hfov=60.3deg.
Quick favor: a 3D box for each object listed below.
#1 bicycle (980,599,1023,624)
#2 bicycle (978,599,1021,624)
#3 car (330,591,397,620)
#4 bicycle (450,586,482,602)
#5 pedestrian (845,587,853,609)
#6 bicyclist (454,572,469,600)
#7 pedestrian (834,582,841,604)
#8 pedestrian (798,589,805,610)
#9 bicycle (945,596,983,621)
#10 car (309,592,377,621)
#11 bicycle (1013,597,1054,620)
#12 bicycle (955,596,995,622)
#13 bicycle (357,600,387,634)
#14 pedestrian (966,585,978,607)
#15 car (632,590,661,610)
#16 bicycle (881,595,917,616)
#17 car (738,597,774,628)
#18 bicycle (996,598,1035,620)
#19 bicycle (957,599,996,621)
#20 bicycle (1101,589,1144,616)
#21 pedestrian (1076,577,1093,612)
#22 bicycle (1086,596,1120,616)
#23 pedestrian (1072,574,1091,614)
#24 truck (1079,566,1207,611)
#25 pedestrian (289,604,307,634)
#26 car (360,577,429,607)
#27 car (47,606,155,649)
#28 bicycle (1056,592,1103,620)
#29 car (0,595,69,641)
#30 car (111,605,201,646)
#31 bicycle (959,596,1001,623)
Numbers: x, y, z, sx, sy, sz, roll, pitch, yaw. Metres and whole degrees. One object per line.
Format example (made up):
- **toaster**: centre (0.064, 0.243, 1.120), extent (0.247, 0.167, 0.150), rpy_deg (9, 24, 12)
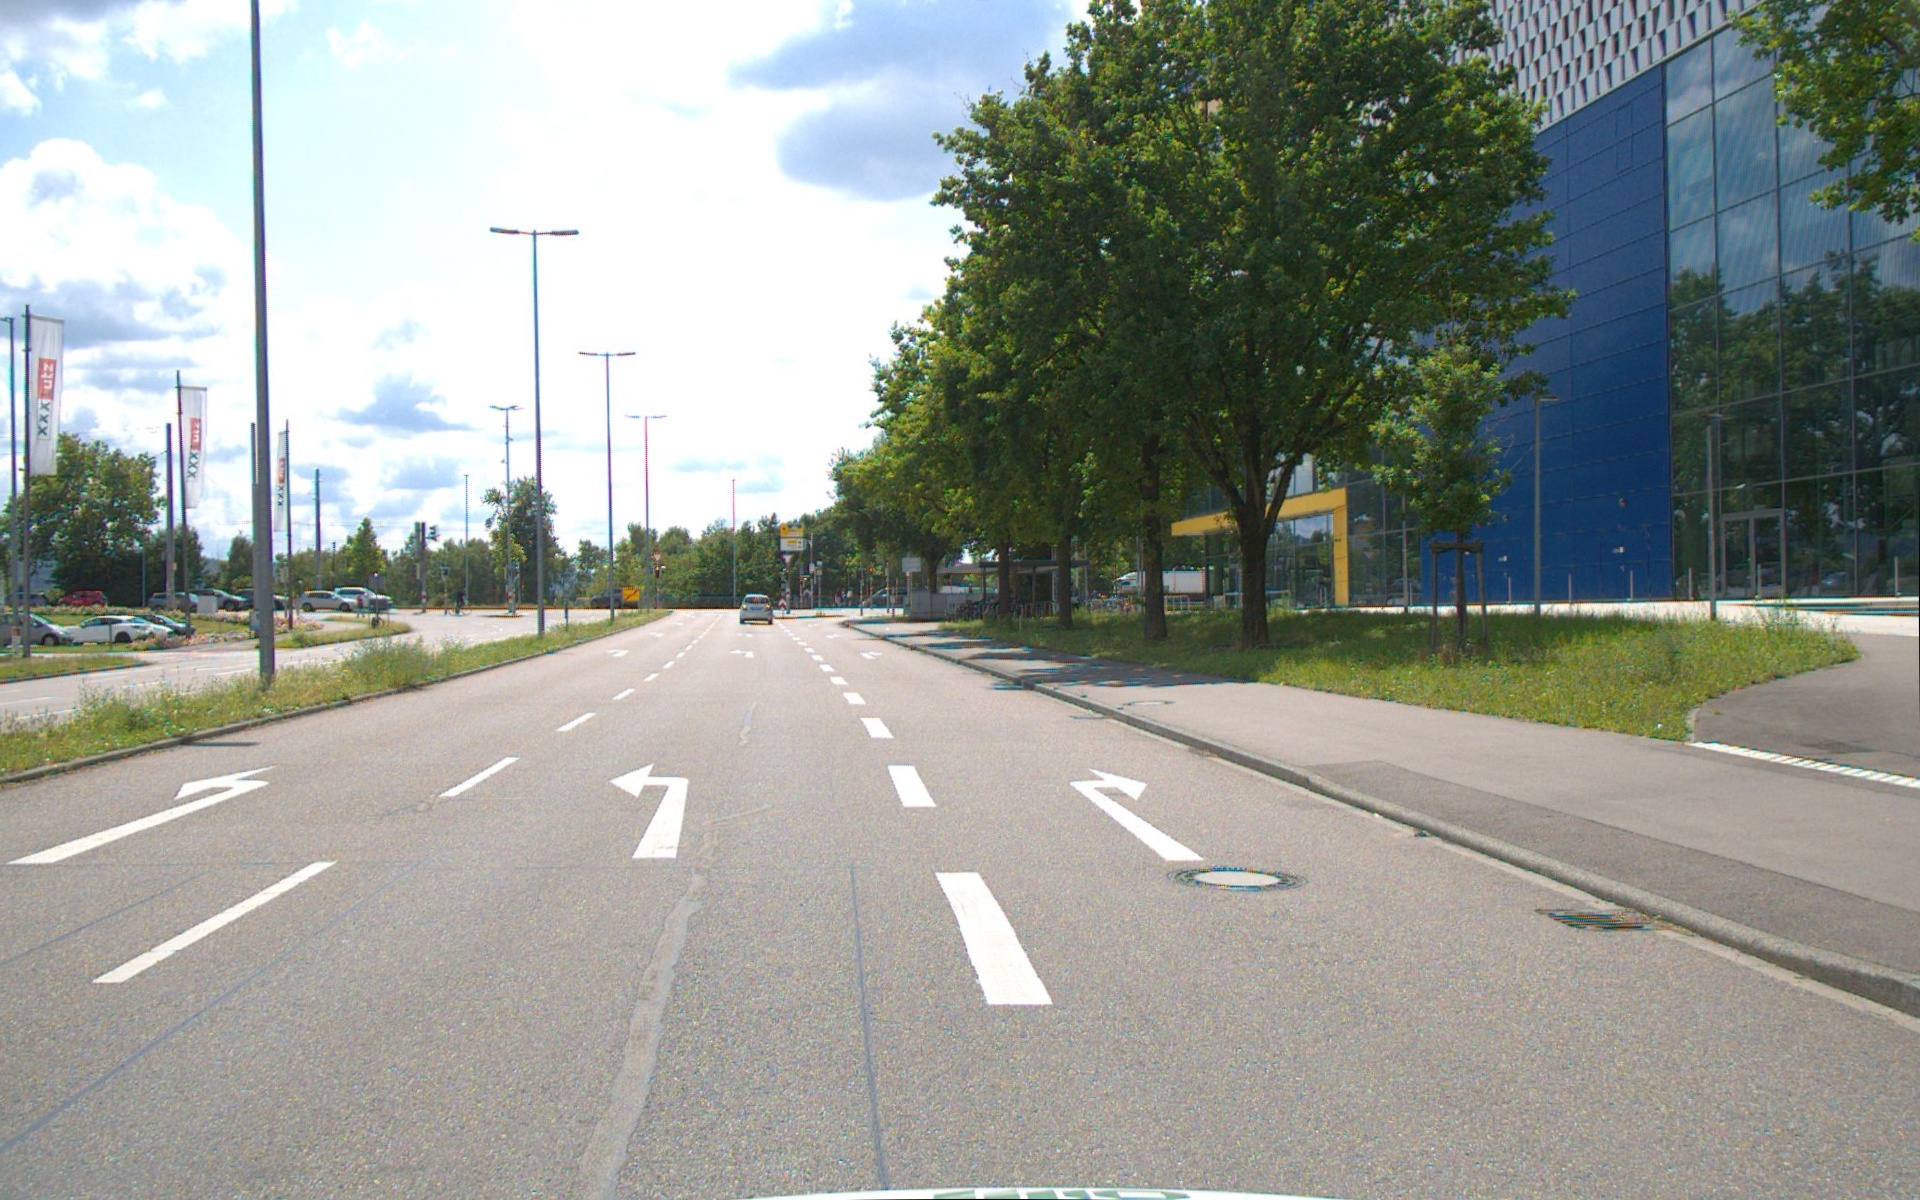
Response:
- **bicycle**: centre (1.840, 0.490, 73.275), extent (1.830, 1.012, 0.422), rpy_deg (-3, 0, -13)
- **bicycle**: centre (1.745, 0.494, 73.755), extent (1.830, 1.012, 0.422), rpy_deg (-3, 0, -13)
- **car**: centre (-44.314, 0.431, 122.929), extent (4.268, 2.024, 1.996), rpy_deg (-1, 0, -9)
- **bicycle**: centre (-33.931, -0.390, 113.575), extent (1.979, 1.016, 0.621), rpy_deg (2, -1, -8)
- **pedestrian**: centre (-9.318, -0.181, 138.956), extent (0.663, 1.778, 0.636), rpy_deg (-1, 2, -6)
- **bicyclist**: centre (-34.220, -0.968, 113.545), extent (0.904, 1.878, 0.610), rpy_deg (-1, 0, -8)
- **pedestrian**: centre (-9.968, -0.595, 134.250), extent (0.512, 1.751, 0.729), rpy_deg (-1, 0, -4)
- **pedestrian**: centre (-13.436, -0.043, 140.183), extent (0.599, 1.800, 0.671), rpy_deg (-1, 0, -6)
- **bicycle**: centre (0.205, 0.435, 84.222), extent (1.829, 1.208, 0.422), rpy_deg (-2, 0, -13)
- **car**: centre (-44.658, 0.475, 119.827), extent (4.268, 2.024, 1.996), rpy_deg (-1, 0, -9)
- **bicycle**: centre (3.445, 0.395, 77.642), extent (1.829, 1.012, 0.422), rpy_deg (-3, -1, -13)
- **bicycle**: centre (0.721, 0.426, 79.322), extent (1.829, 1.208, 0.422), rpy_deg (-2, 0, -13)
- **bicycle**: centre (-30.622, 0.869, 86.176), extent (0.998, 1.704, 2.045), rpy_deg (-2, 0, -7)
- **pedestrian**: centre (1.043, -0.369, 141.637), extent (0.909, 1.839, 0.735), rpy_deg (-1, 0, -9)
- **car**: centre (-25.777, -0.006, 135.894), extent (1.865, 1.495, 3.815), rpy_deg (1, 1, -18)
- **bicycle**: centre (-3.196, 0.299, 86.484), extent (1.829, 1.012, 0.422), rpy_deg (-3, -1, -13)
- **car**: centre (-10.771, 0.650, 87.337), extent (1.858, 1.495, 3.827), rpy_deg (1, 1, -7)
- **bicycle**: centre (2.697, 0.448, 80.890), extent (1.829, 1.012, 0.422), rpy_deg (-2, -1, -13)
- **bicycle**: centre (0.794, 0.475, 80.802), extent (1.829, 1.012, 0.422), rpy_deg (-2, 0, -13)
- **bicycle**: centre (8.227, 0.121, 83.828), extent (2.095, 1.251, 0.721), rpy_deg (-2, 0, 2)
- **pedestrian**: centre (7.624, -0.327, 101.255), extent (0.986, 2.108, 0.975), rpy_deg (-1, -1, 6)
- **bicycle**: centre (7.854, 0.323, 90.747), extent (1.829, 1.012, 0.463), rpy_deg (-1, 0, -12)
- **pedestrian**: centre (5.373, -0.263, 73.266), extent (0.621, 1.752, 0.524), rpy_deg (-3, -1, 28)
- **truck**: centre (17.486, -1.101, 158.201), extent (11.732, 4.176, 2.947), rpy_deg (-1, 0, -8)
- **pedestrian**: centre (-41.929, 1.211, 104.707), extent (0.858, 1.870, 0.788), rpy_deg (2, -1, -36)
- **car**: centre (-39.914, -0.580, 116.825), extent (4.268, 2.024, 1.996), rpy_deg (-1, 0, -9)
- **car**: centre (-42.716, 1.357, 82.328), extent (4.268, 2.024, 1.996), rpy_deg (-1, 0, -9)
- **bicycle**: centre (5.273, 0.262, 72.809), extent (1.971, 1.127, 0.576), rpy_deg (-3, 0, 31)
- **car**: centre (-43.028, 0.835, 74.867), extent (4.268, 2.024, 1.996), rpy_deg (-1, 0, -9)
- **car**: centre (-42.139, 1.318, 86.760), extent (3.926, 2.049, 1.990), rpy_deg (-1, 0, -19)
- **bicycle**: centre (0.940, 0.439, 77.107), extent (1.860, 1.190, 0.423), rpy_deg (-2, 0, -7)
